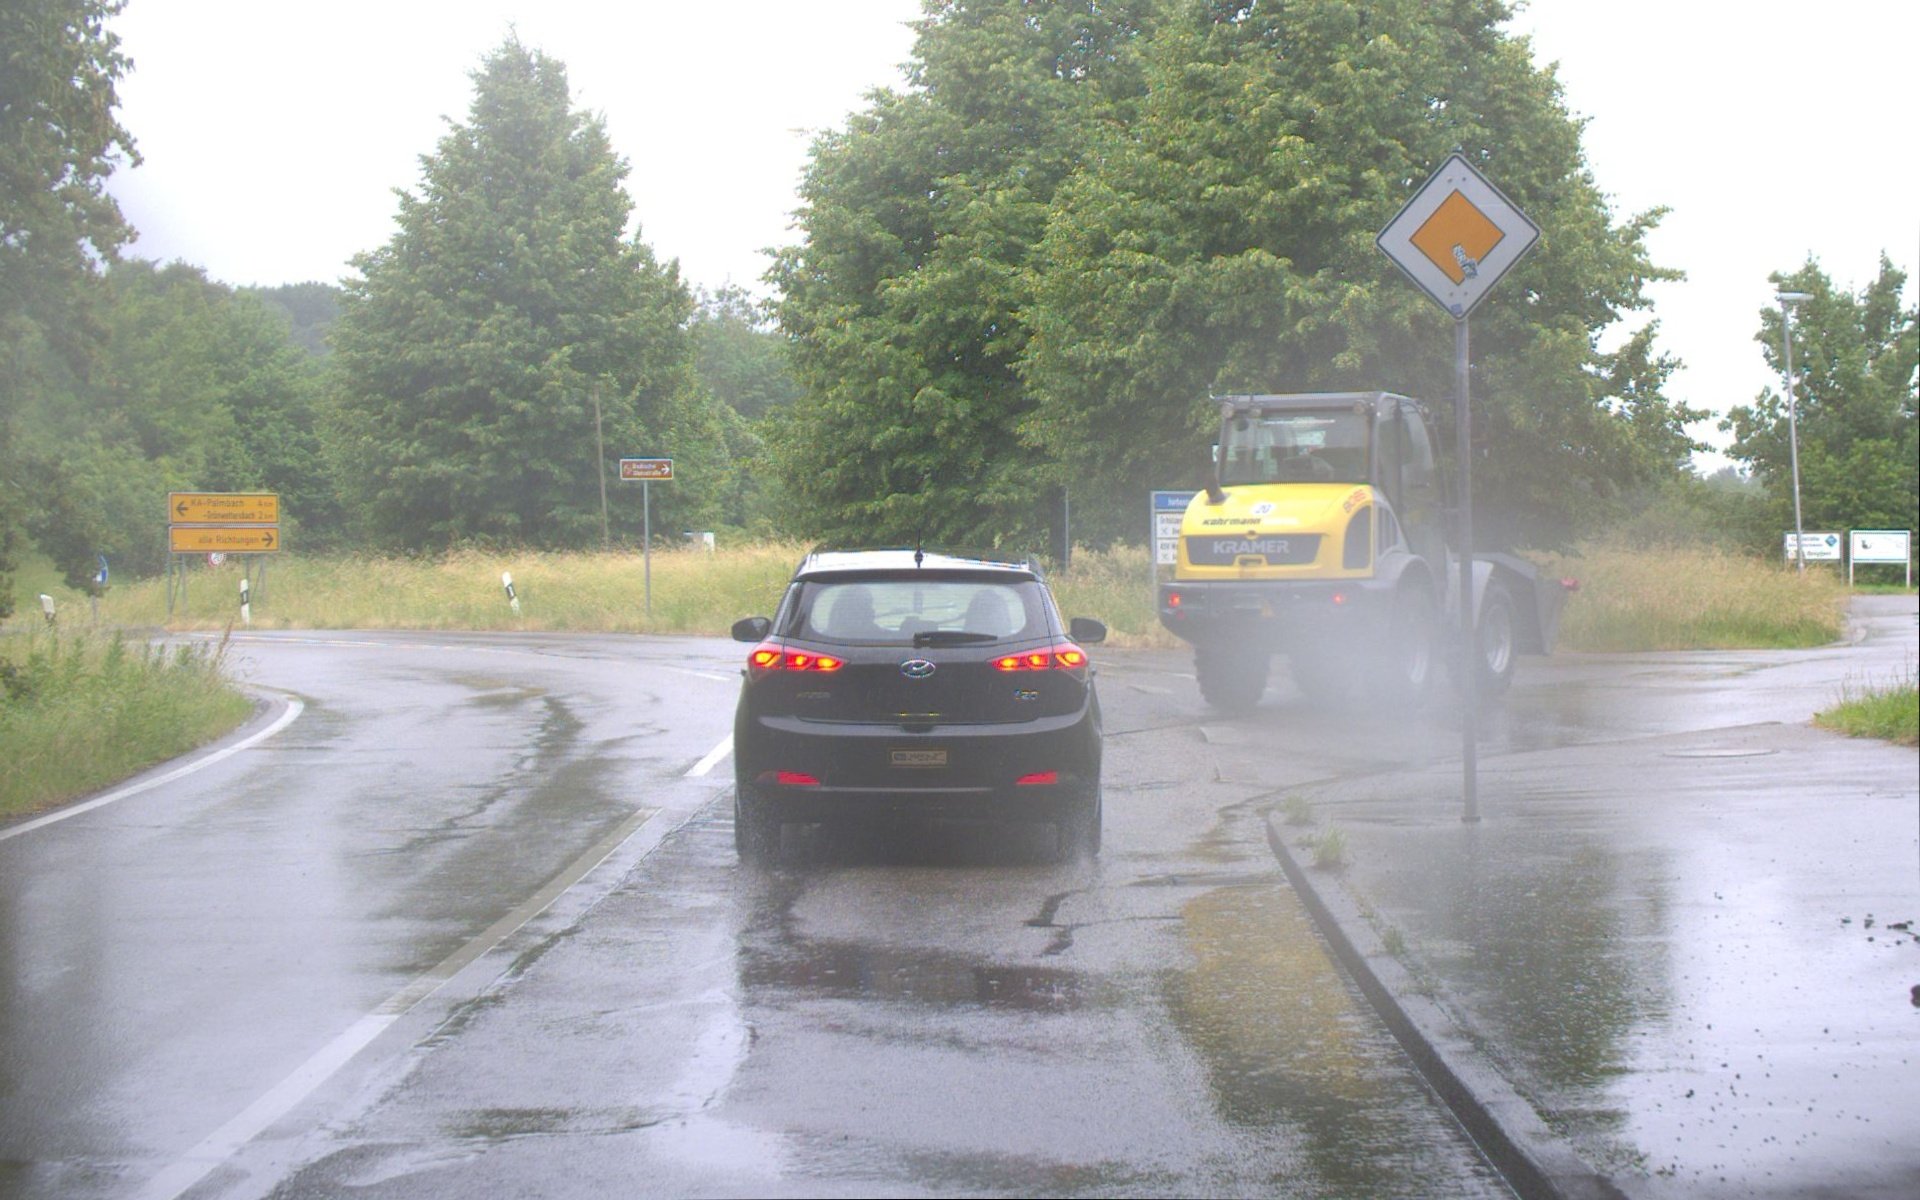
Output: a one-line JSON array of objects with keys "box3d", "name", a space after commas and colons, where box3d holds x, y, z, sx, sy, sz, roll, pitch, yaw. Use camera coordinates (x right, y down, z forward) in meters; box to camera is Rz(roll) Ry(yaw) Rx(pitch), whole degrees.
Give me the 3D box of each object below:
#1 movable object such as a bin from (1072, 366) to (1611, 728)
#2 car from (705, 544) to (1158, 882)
[{"box3d": [3.382, -0.434, 28.764, 2.249, 2.660, 6.616, 1, 1, 27], "name": "movable object such as a bin"}, {"box3d": [-0.269, 0.474, 17.282, 1.993, 1.482, 4.001, 1, 1, -4], "name": "car"}]
